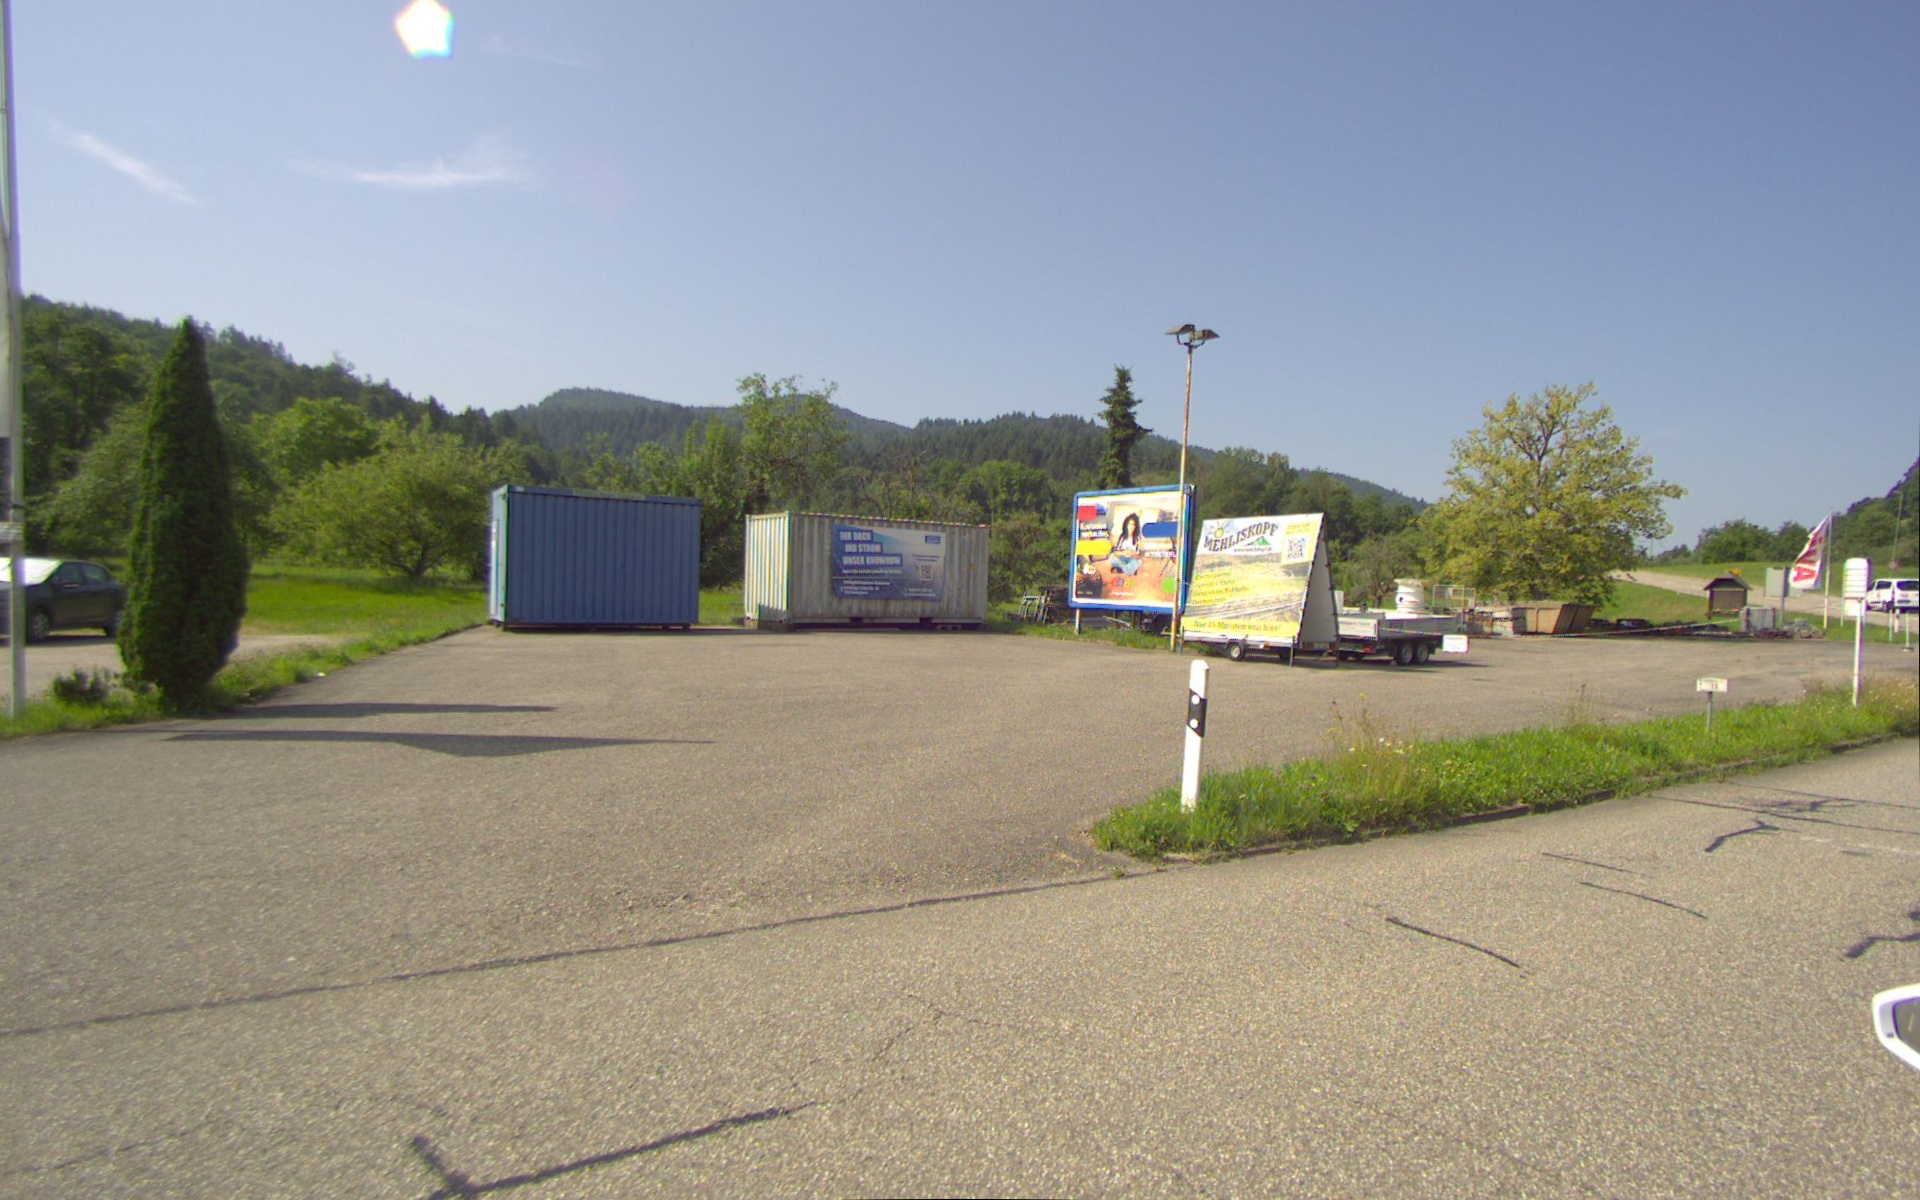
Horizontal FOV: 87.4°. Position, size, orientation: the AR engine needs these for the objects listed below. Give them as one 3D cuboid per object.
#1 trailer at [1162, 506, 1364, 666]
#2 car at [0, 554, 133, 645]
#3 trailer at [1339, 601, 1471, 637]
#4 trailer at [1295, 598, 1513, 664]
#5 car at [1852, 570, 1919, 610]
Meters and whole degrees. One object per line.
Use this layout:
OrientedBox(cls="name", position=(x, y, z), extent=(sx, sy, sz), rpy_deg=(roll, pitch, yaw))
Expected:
OrientedBox(cls="trailer", position=(6.083, -0.329, 20.439), extent=(1.866, 2.951, 3.366), rpy_deg=(1, 3, -37))
OrientedBox(cls="car", position=(-16.989, -0.072, 18.324), extent=(1.890, 1.505, 3.910), rpy_deg=(1, 2, -23))
OrientedBox(cls="trailer", position=(15.784, 0.655, 35.776), extent=(1.848, 0.952, 3.909), rpy_deg=(3, 2, -32))
OrientedBox(cls="trailer", position=(10.158, 0.685, 22.797), extent=(5.491, 1.243, 1.980), rpy_deg=(1, 2, -36))
OrientedBox(cls="car", position=(56.030, -0.609, 60.304), extent=(2.187, 2.317, 4.981), rpy_deg=(-1, 0, 23))
